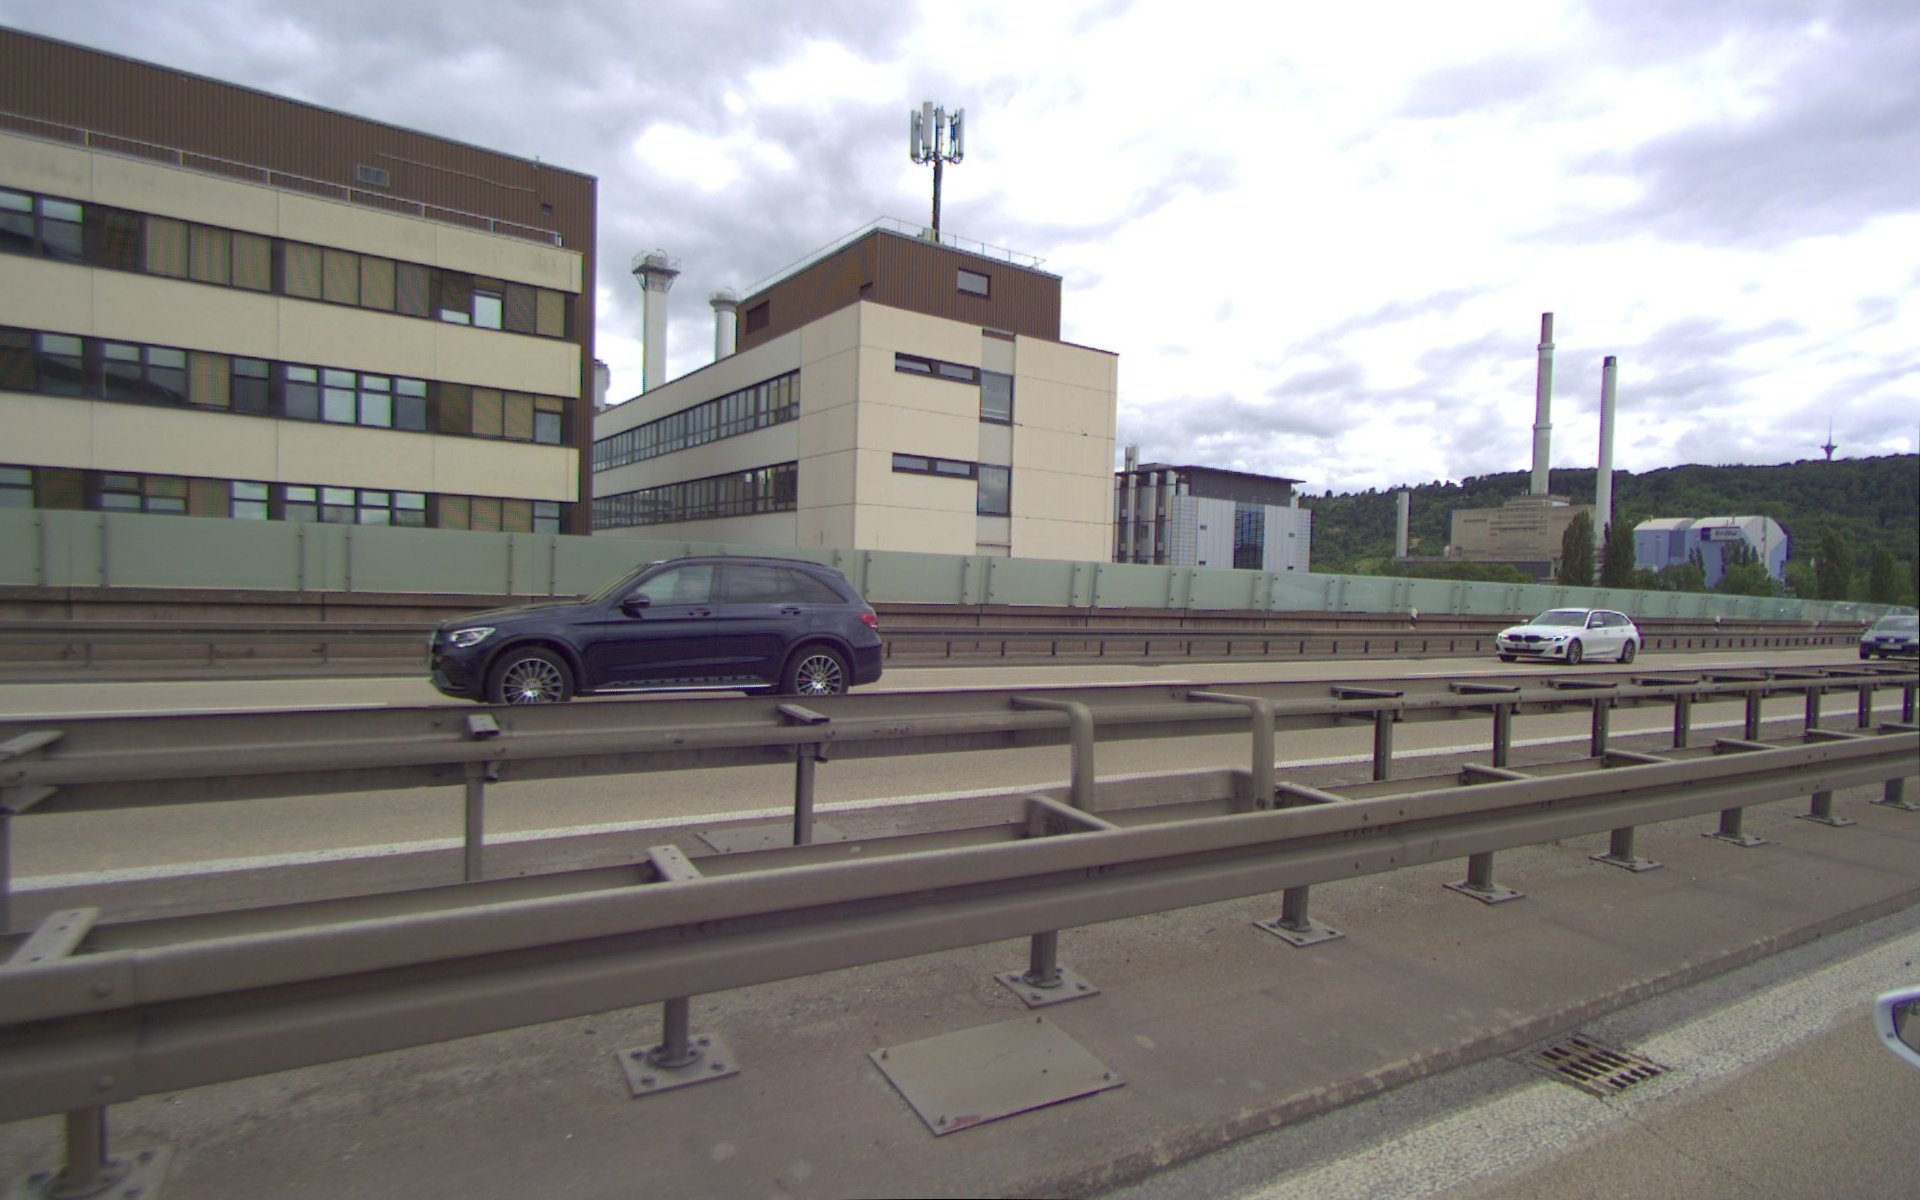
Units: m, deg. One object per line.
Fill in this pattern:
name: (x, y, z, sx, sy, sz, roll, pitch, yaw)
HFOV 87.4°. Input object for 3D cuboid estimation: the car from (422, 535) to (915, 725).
car: (-2.986, 0.308, 10.677, 4.758, 1.640, 1.746, 1, 0, -31)

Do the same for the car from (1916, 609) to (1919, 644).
car: (50.234, 1.371, 51.045, 4.329, 1.771, 1.741, 1, 0, -37)

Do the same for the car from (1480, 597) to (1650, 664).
car: (16.044, 0.779, 26.566, 4.761, 1.633, 1.907, 1, 0, -32)

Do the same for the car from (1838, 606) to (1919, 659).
car: (31.407, 1.064, 33.561, 4.765, 1.633, 2.009, 1, -1, -35)
